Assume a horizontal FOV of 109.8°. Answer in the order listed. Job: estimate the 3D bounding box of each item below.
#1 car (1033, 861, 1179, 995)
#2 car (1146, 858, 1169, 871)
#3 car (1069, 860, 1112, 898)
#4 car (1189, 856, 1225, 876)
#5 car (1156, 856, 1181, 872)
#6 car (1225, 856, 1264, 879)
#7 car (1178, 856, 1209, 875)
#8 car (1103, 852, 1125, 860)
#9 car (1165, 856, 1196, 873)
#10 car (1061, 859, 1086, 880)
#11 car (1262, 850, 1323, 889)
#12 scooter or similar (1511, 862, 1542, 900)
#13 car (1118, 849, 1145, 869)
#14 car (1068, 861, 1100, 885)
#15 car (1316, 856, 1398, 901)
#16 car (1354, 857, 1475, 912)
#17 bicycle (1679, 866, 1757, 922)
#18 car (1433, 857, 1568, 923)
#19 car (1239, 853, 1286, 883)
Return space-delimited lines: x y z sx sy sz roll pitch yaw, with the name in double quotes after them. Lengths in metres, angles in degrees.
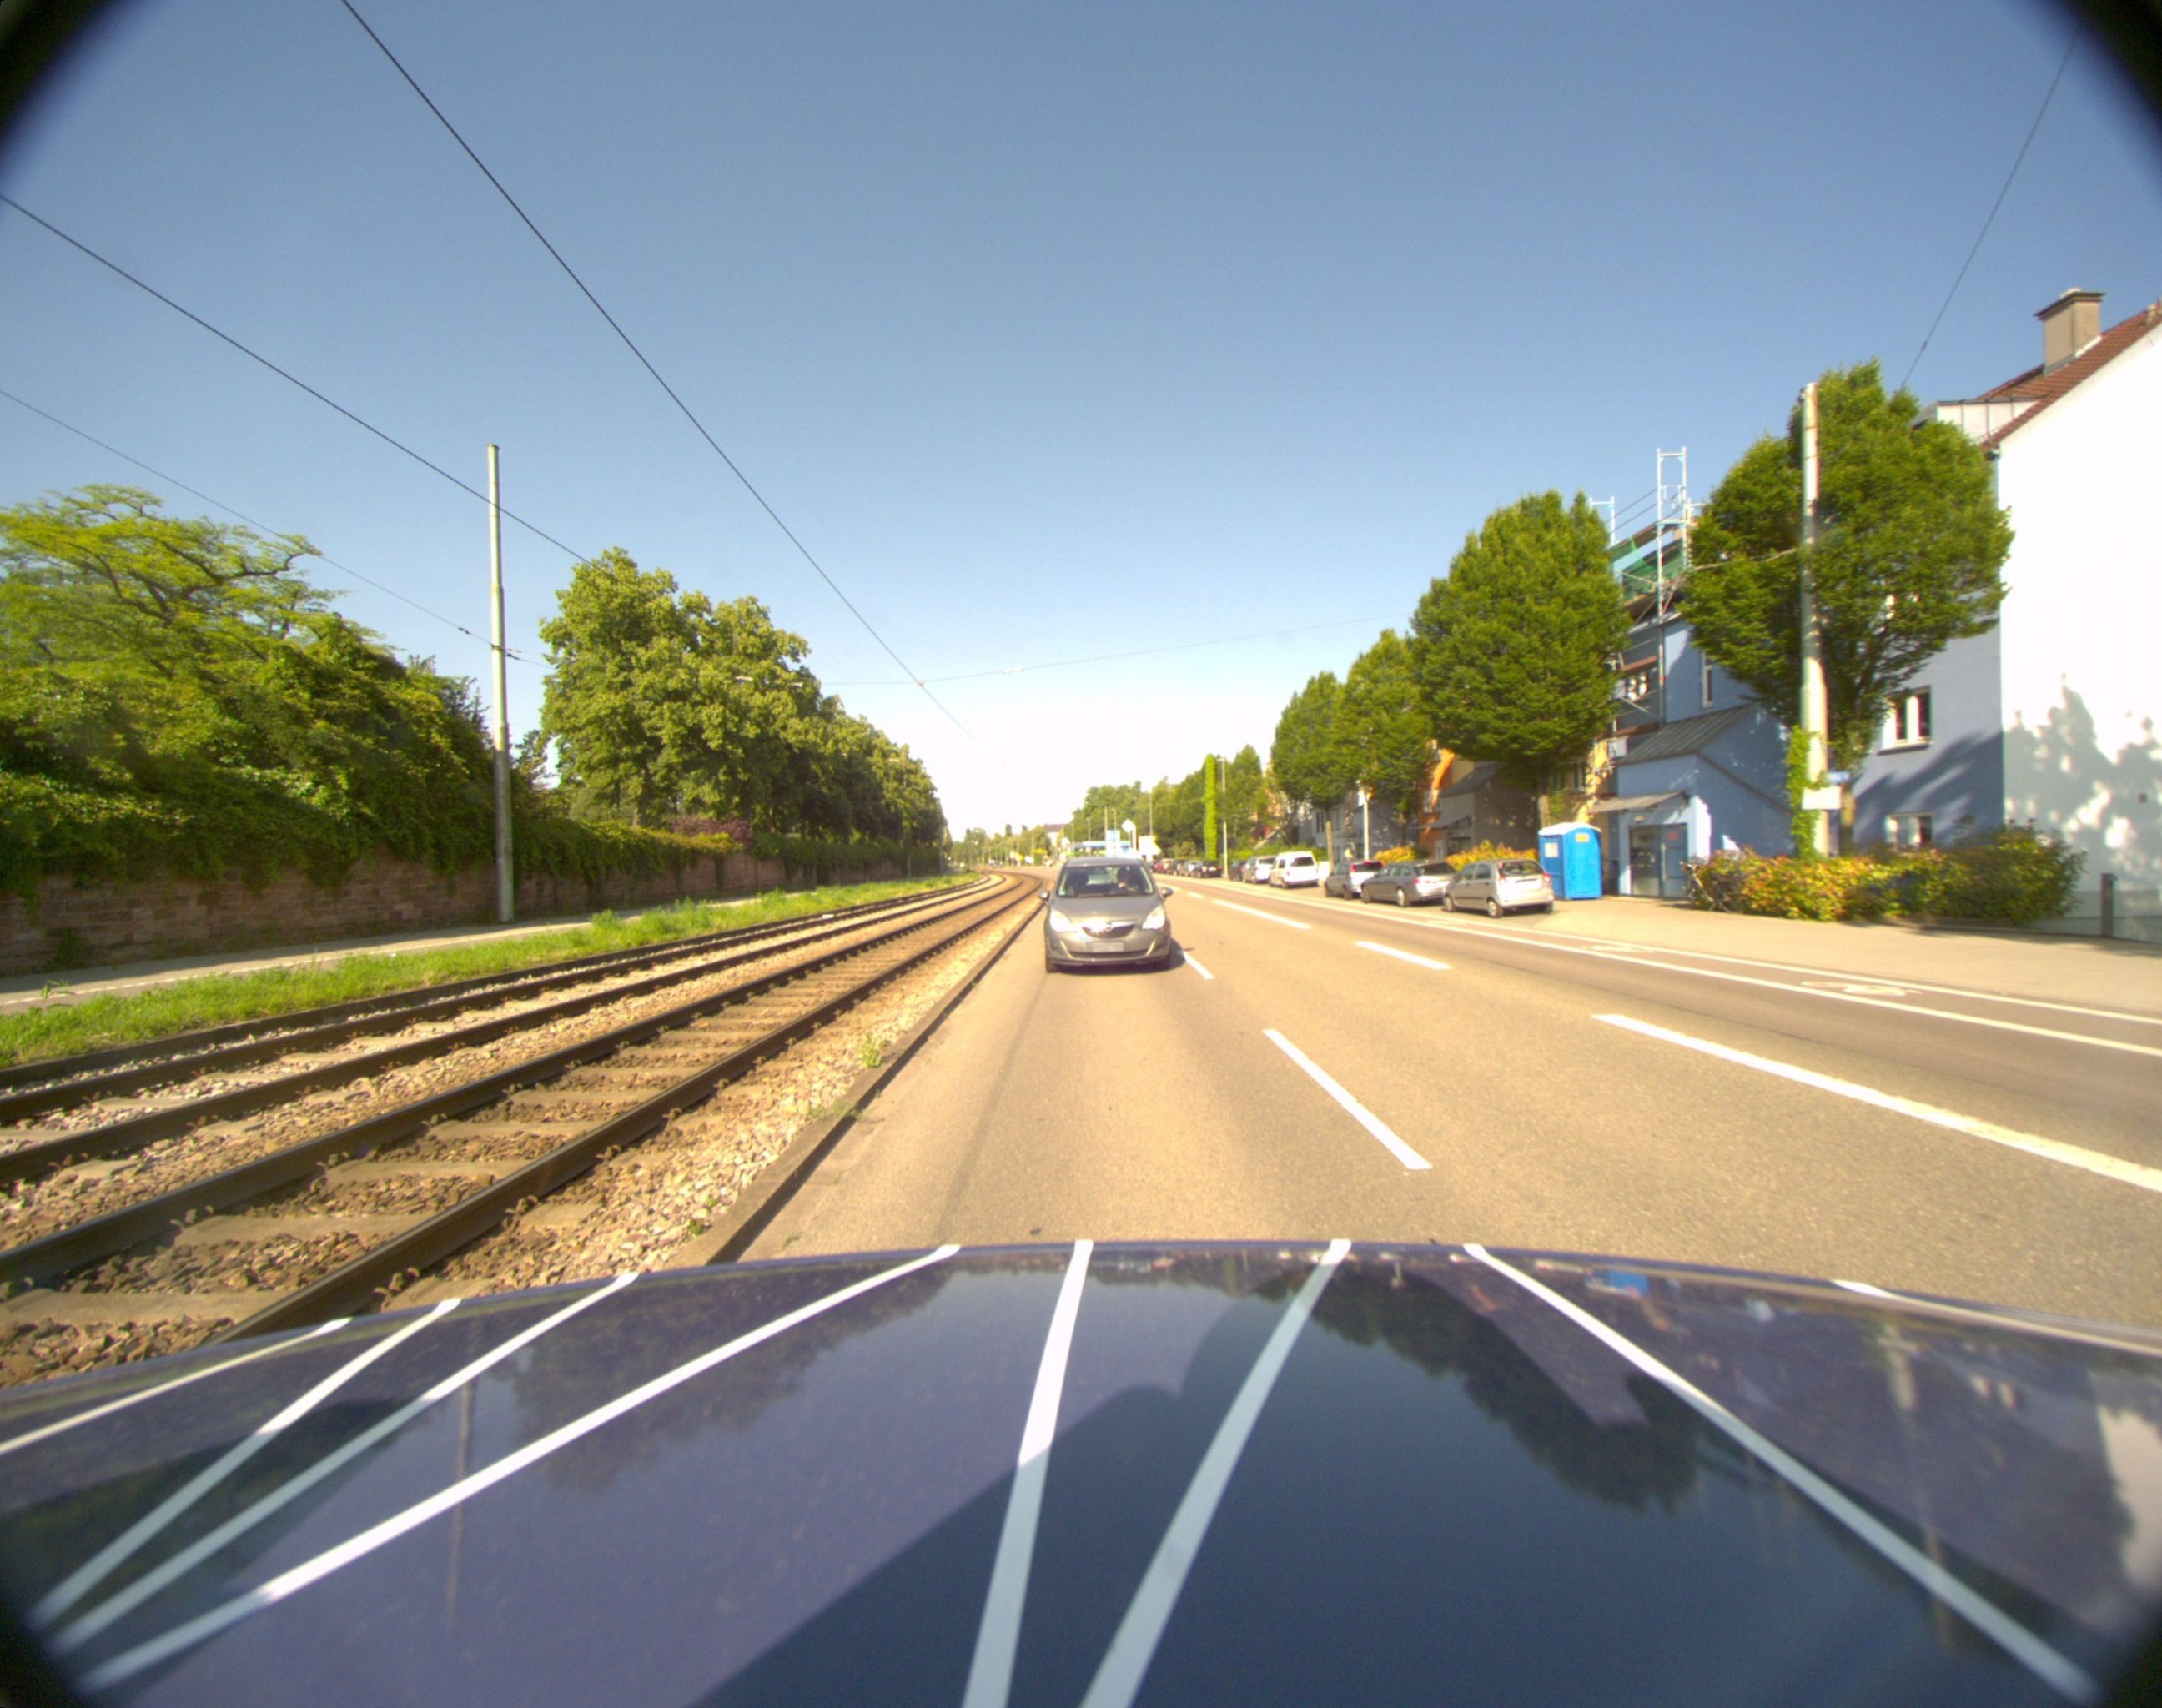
0.372 0.926 11.193 1.730 1.573 3.764 -2 0 2 "car"
8.653 1.203 86.317 1.657 1.416 4.710 -1 0 -7 "car"
0.408 1.063 33.749 1.710 1.487 4.000 -3 0 0 "car"
10.527 0.998 63.931 1.871 1.535 4.908 -4 0 -3 "car"
9.279 1.047 81.017 1.768 1.565 4.159 -2 1 -6 "car"
11.246 0.931 52.601 1.620 1.457 4.057 -3 0 -2 "car"
10.296 1.036 69.811 1.717 1.463 4.841 -3 1 -5 "car"
8.231 0.479 188.878 5.086 1.929 1.856 -1 0 -5 "car"
9.760 0.989 75.150 1.768 1.564 4.433 -3 0 -10 "car"
-0.662 1.299 64.353 1.710 1.581 3.998 -3 0 -5 "car"
11.313 0.793 40.987 1.767 1.835 4.579 -6 0 -1 "car"
14.055 0.841 24.010 0.294 1.147 1.042 -1 0 -4 "scooter or similar"
6.639 0.666 101.136 2.159 2.443 6.179 -4 0 -9 "car"
0.129 1.133 45.904 1.579 1.306 3.998 -3 0 -4 "car"
11.110 0.935 30.859 1.767 1.530 3.981 -6 0 1 "car"
11.090 0.944 25.703 1.753 1.502 4.754 -6 0 -2 "car"
14.321 0.862 17.132 0.444 1.147 1.785 -1 1 7 "bicycle"
11.241 0.902 20.645 1.605 1.486 3.509 -6 0 0 "car"
11.201 0.843 47.212 1.672 1.691 4.824 -3 0 0 "car"
